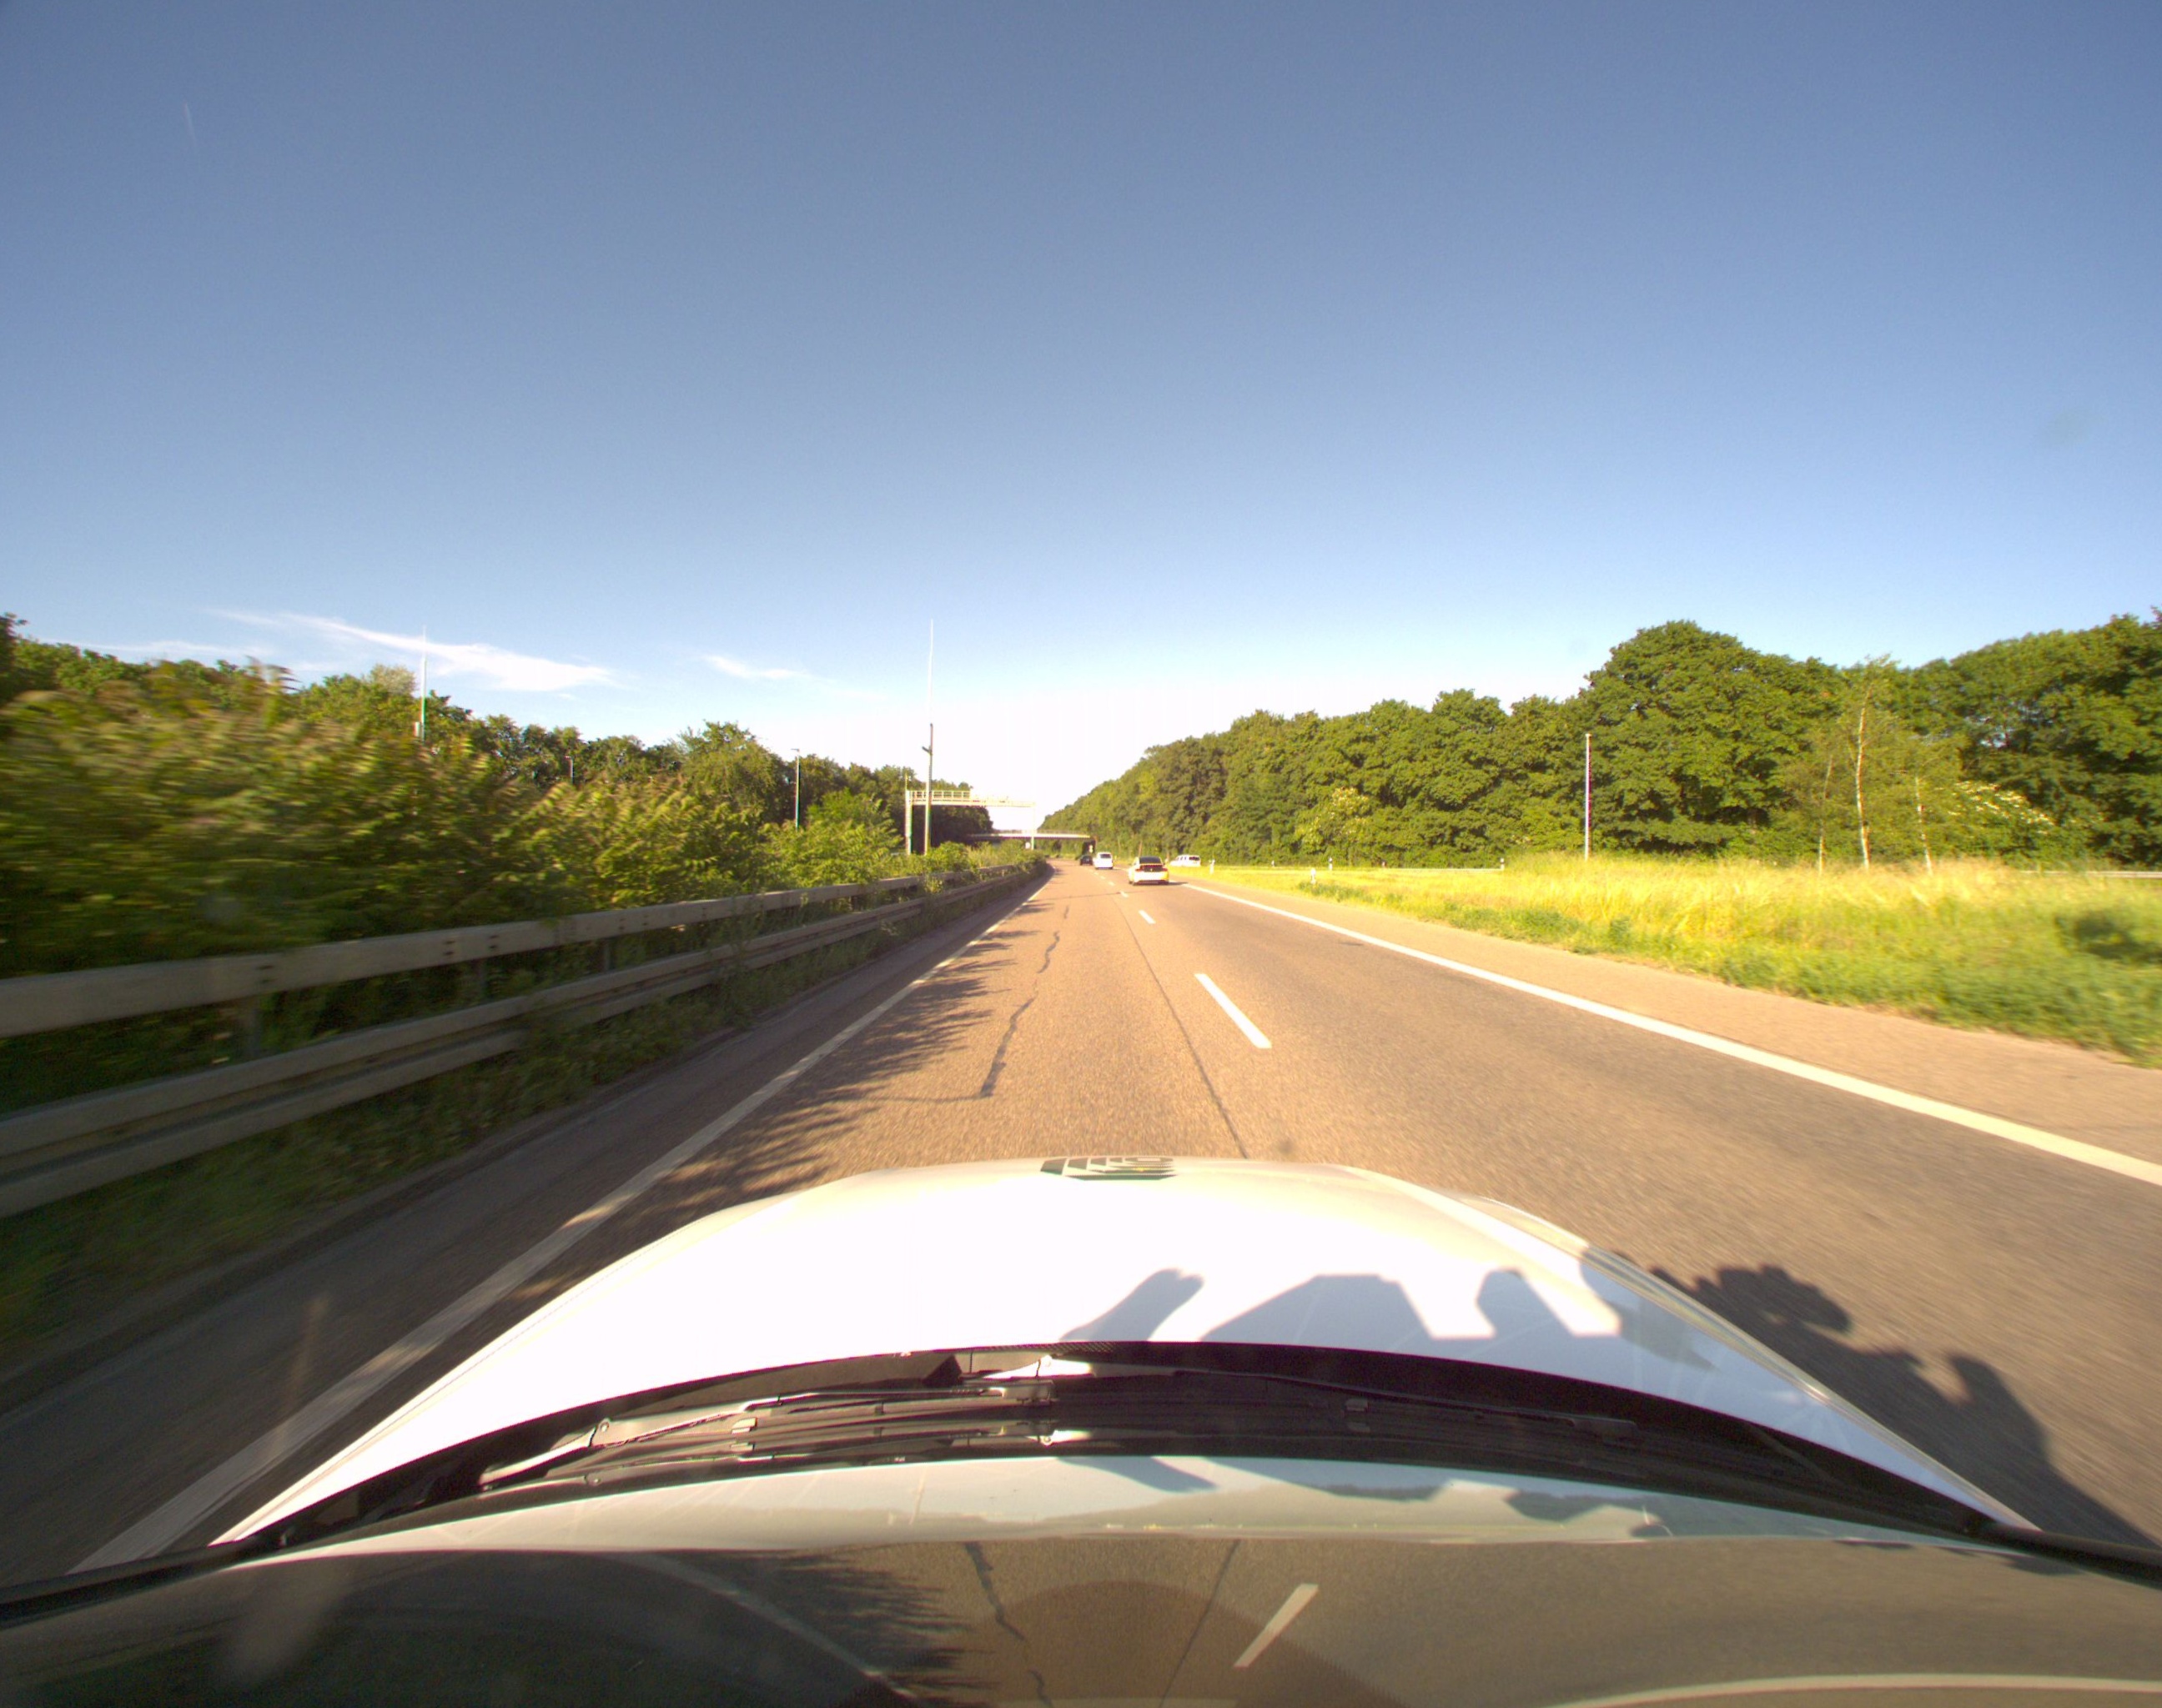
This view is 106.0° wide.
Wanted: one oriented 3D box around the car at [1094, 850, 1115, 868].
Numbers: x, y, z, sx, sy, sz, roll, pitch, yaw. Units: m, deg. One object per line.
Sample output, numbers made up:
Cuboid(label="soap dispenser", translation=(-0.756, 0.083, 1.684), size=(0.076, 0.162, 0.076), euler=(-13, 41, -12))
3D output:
Cuboid(label="car", translation=(2.433, 0.566, 85.649), size=(1.892, 1.767, 3.996), euler=(-1, -2, -2))

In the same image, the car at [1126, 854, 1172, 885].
Cuboid(label="car", translation=(3.428, 0.765, 41.727), size=(1.892, 1.471, 3.997), euler=(-1, 0, -2))

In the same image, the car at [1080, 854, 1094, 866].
Cuboid(label="car", translation=(0.884, 0.884, 120.914), size=(1.891, 1.767, 4.000), euler=(-1, 0, 0))

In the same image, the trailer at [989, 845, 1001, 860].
Cuboid(label="trailer", translation=(-23.435, -0.448, 223.359), size=(2.733, 4.027, 14.053), euler=(1, 0, -4))

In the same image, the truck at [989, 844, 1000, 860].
Cuboid(label="truck", translation=(-22.935, -0.456, 216.713), size=(2.733, 4.027, 6.170), euler=(1, 0, -4))

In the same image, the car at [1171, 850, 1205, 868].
Cuboid(label="car", translation=(11.102, 0.532, 84.960), size=(1.904, 1.824, 3.972), euler=(-1, 0, -21))
